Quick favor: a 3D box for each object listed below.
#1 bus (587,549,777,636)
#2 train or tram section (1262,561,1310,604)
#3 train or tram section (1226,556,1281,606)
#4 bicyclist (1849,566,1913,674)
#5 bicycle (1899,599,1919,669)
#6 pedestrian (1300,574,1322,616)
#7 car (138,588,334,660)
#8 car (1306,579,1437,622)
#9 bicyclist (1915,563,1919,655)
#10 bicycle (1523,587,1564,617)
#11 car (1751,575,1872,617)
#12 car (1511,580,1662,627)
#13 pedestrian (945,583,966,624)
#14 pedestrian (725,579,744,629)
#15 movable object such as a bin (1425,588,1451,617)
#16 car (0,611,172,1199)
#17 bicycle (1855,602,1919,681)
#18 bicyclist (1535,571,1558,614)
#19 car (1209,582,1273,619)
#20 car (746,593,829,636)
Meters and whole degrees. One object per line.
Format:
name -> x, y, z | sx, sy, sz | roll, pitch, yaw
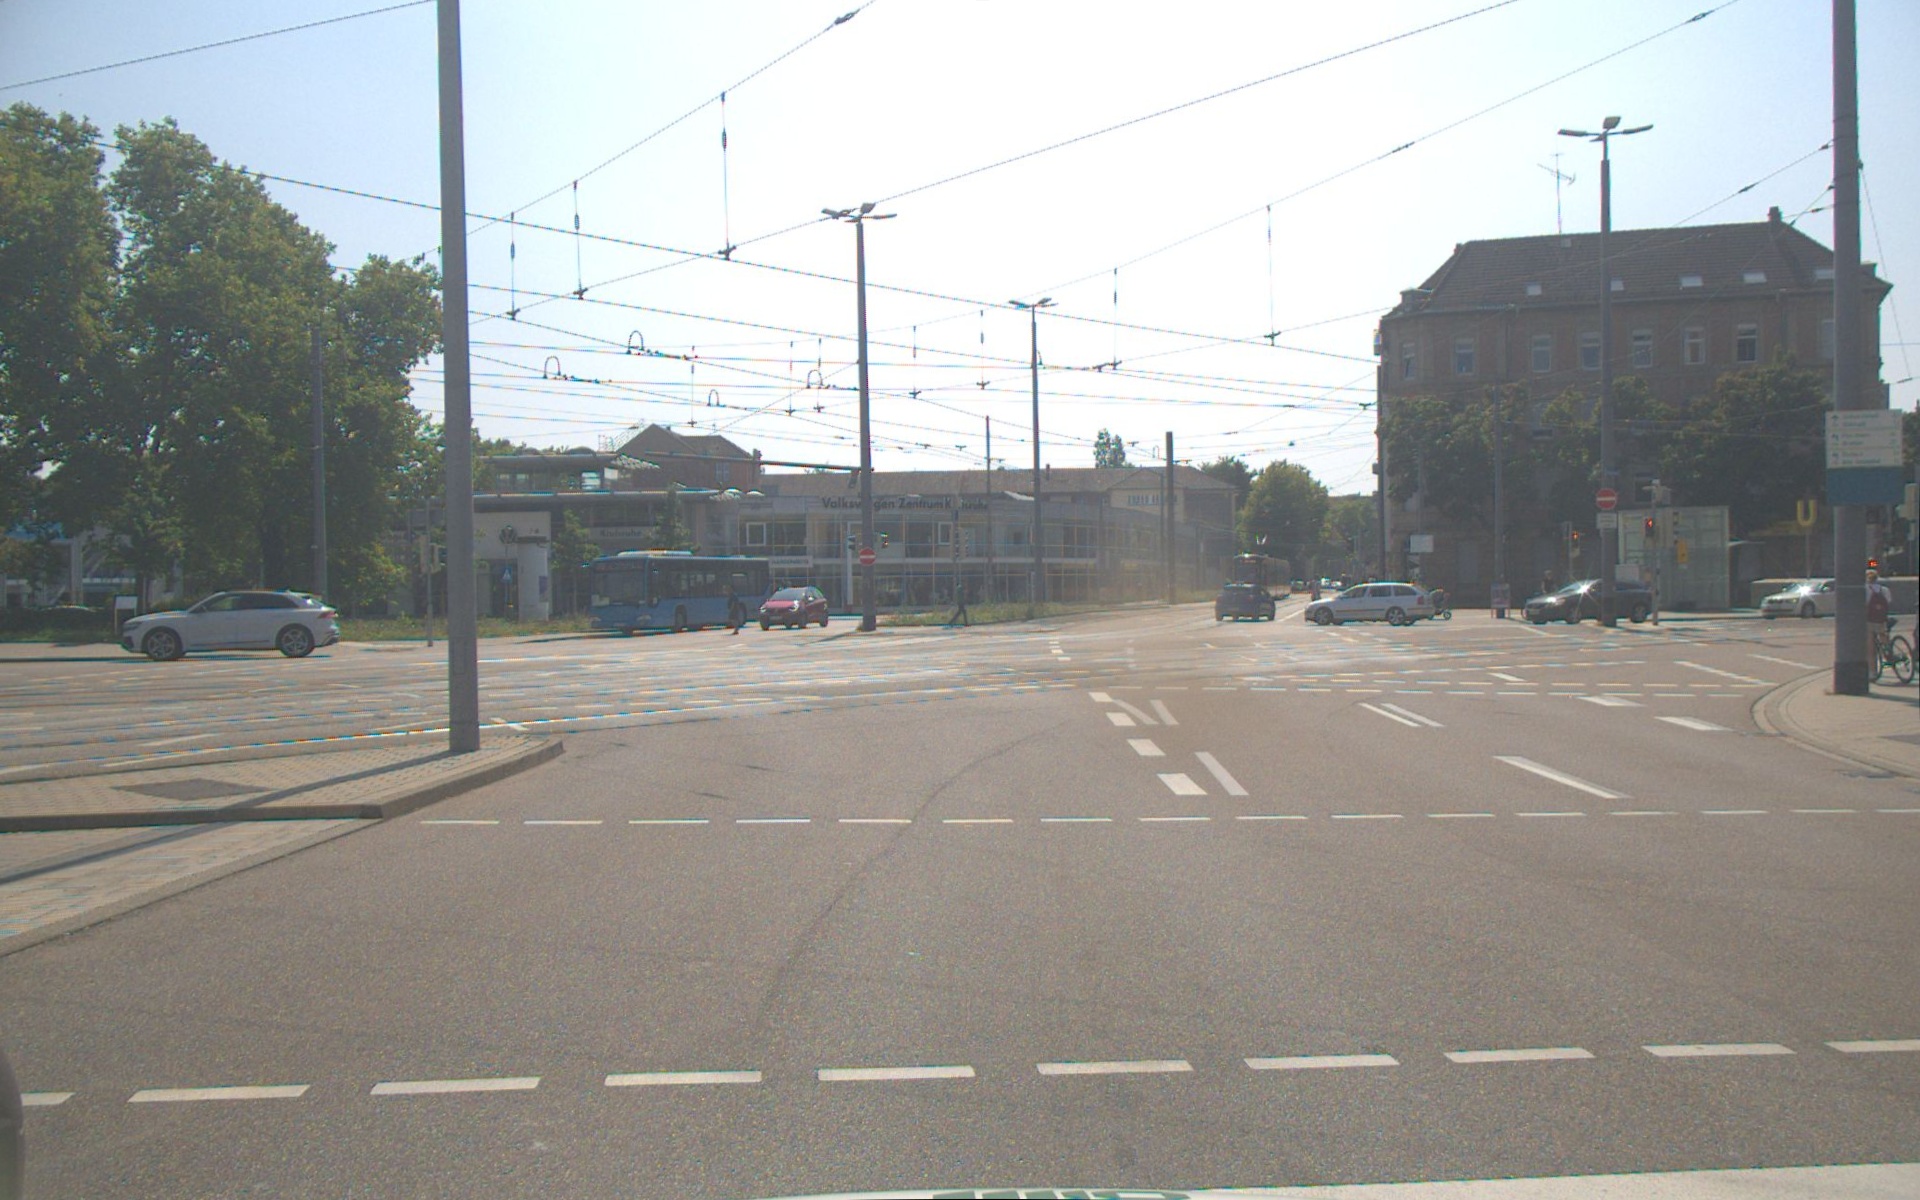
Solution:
bus -> -10.850, -0.321, 66.477 | 2.508, 3.136, 12.031 | -1, 0, 16
train or tram section -> 28.908, -1.567, 146.200 | 2.534, 3.578, 12.979 | -1, 0, 18
train or tram section -> 22.363, -1.436, 125.627 | 2.534, 3.578, 10.904 | -1, 0, 18
bicyclist -> 13.450, 0.282, 24.165 | 0.614, 1.544, 0.712 | -1, 0, 12
bicycle -> 15.058, 0.522, 25.484 | 0.525, 1.073, 1.655 | -1, 0, 12
pedestrian -> 13.824, -0.213, 65.165 | 0.686, 1.631, 0.572 | -1, 0, -8
car -> -17.710, 0.565, 40.642 | 4.258, 1.646, 1.744 | -1, 0, -20
car -> 14.325, 0.013, 57.616 | 4.095, 1.440, 1.773 | -1, 0, 28
bicyclist -> 14.969, 0.143, 25.117 | 0.519, 1.417, 0.894 | -1, 0, 12
bicycle -> 21.372, 0.076, 60.624 | 0.462, 1.073, 1.643 | -1, 0, -21
car -> 30.705, -0.148, 59.627 | 4.137, 1.440, 1.761 | -1, 0, -26
car -> 20.695, 0.103, 54.640 | 4.684, 1.440, 1.765 | -1, 0, -20
pedestrian -> -0.172, 0.120, 59.059 | 0.666, 1.468, 0.364 | -1, 0, -18
pedestrian -> -7.805, 0.129, 57.206 | 0.544, 1.713, 0.452 | -1, 0, -19
movable object such as a bin -> 18.278, 0.100, 63.196 | 0.798, 1.096, 0.510 | -1, 0, -11
car -> -2.520, 0.730, 1.387 | 1.728, 1.412, 3.783 | 1, 0, 3
bicycle -> 13.447, 0.581, 23.800 | 0.525, 1.073, 1.655 | -1, 0, 12
bicyclist -> 21.446, -0.290, 60.450 | 0.603, 1.555, 0.517 | -1, 0, -25
car -> 11.267, -0.006, 66.095 | 1.559, 1.418, 3.998 | -1, 0, 24
car -> -6.557, 0.537, 63.289 | 1.713, 1.579, 4.002 | -1, 0, 17
